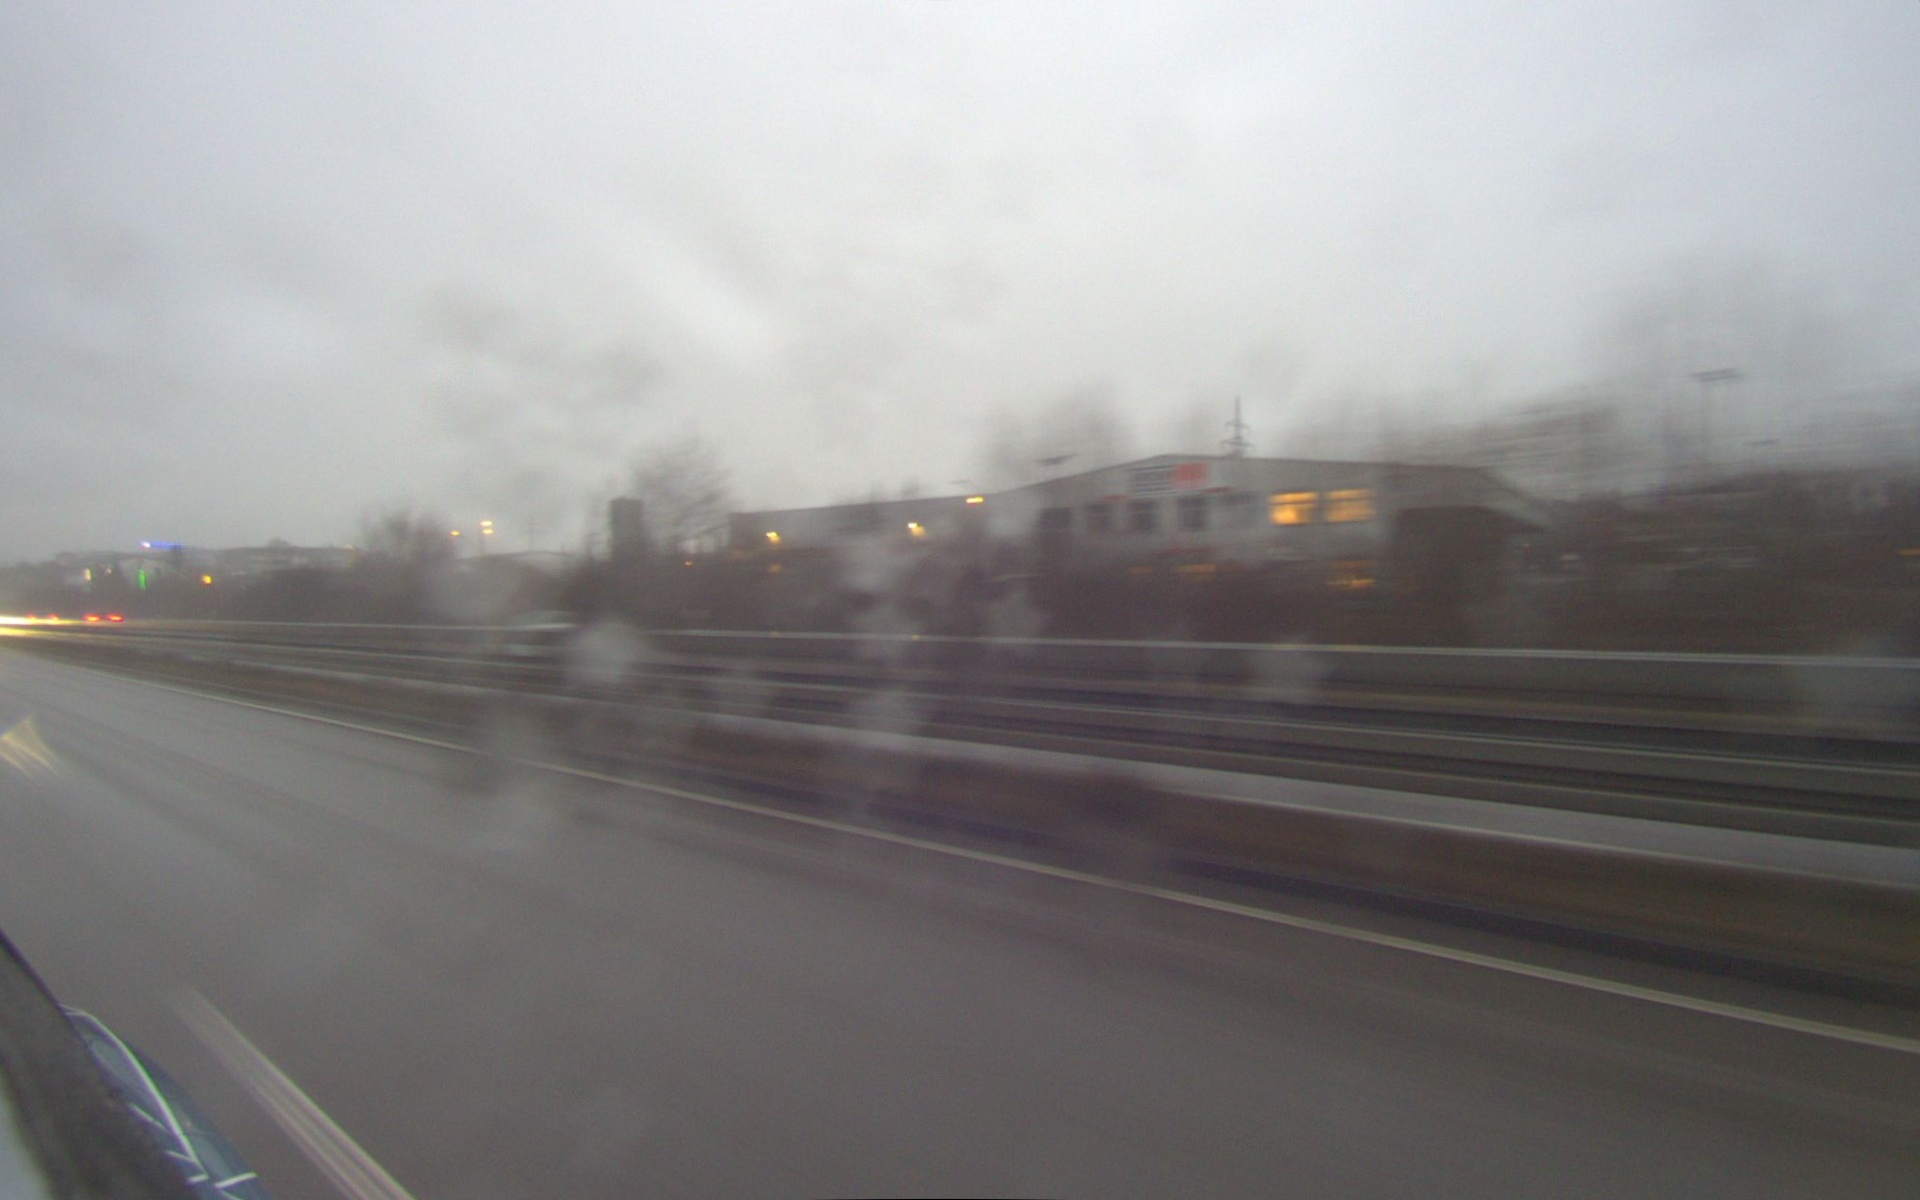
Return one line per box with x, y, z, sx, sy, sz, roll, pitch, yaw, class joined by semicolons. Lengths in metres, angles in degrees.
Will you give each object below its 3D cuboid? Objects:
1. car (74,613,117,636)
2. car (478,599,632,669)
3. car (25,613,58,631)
-58.485;1.643;68.453;4.364;1.486;1.685;0;0;42;car
-10.384;0.826;25.796;4.523;1.639;1.745;-1;-1;40;car
-78.494;1.853;86.502;4.364;1.486;1.685;0;0;42;car
